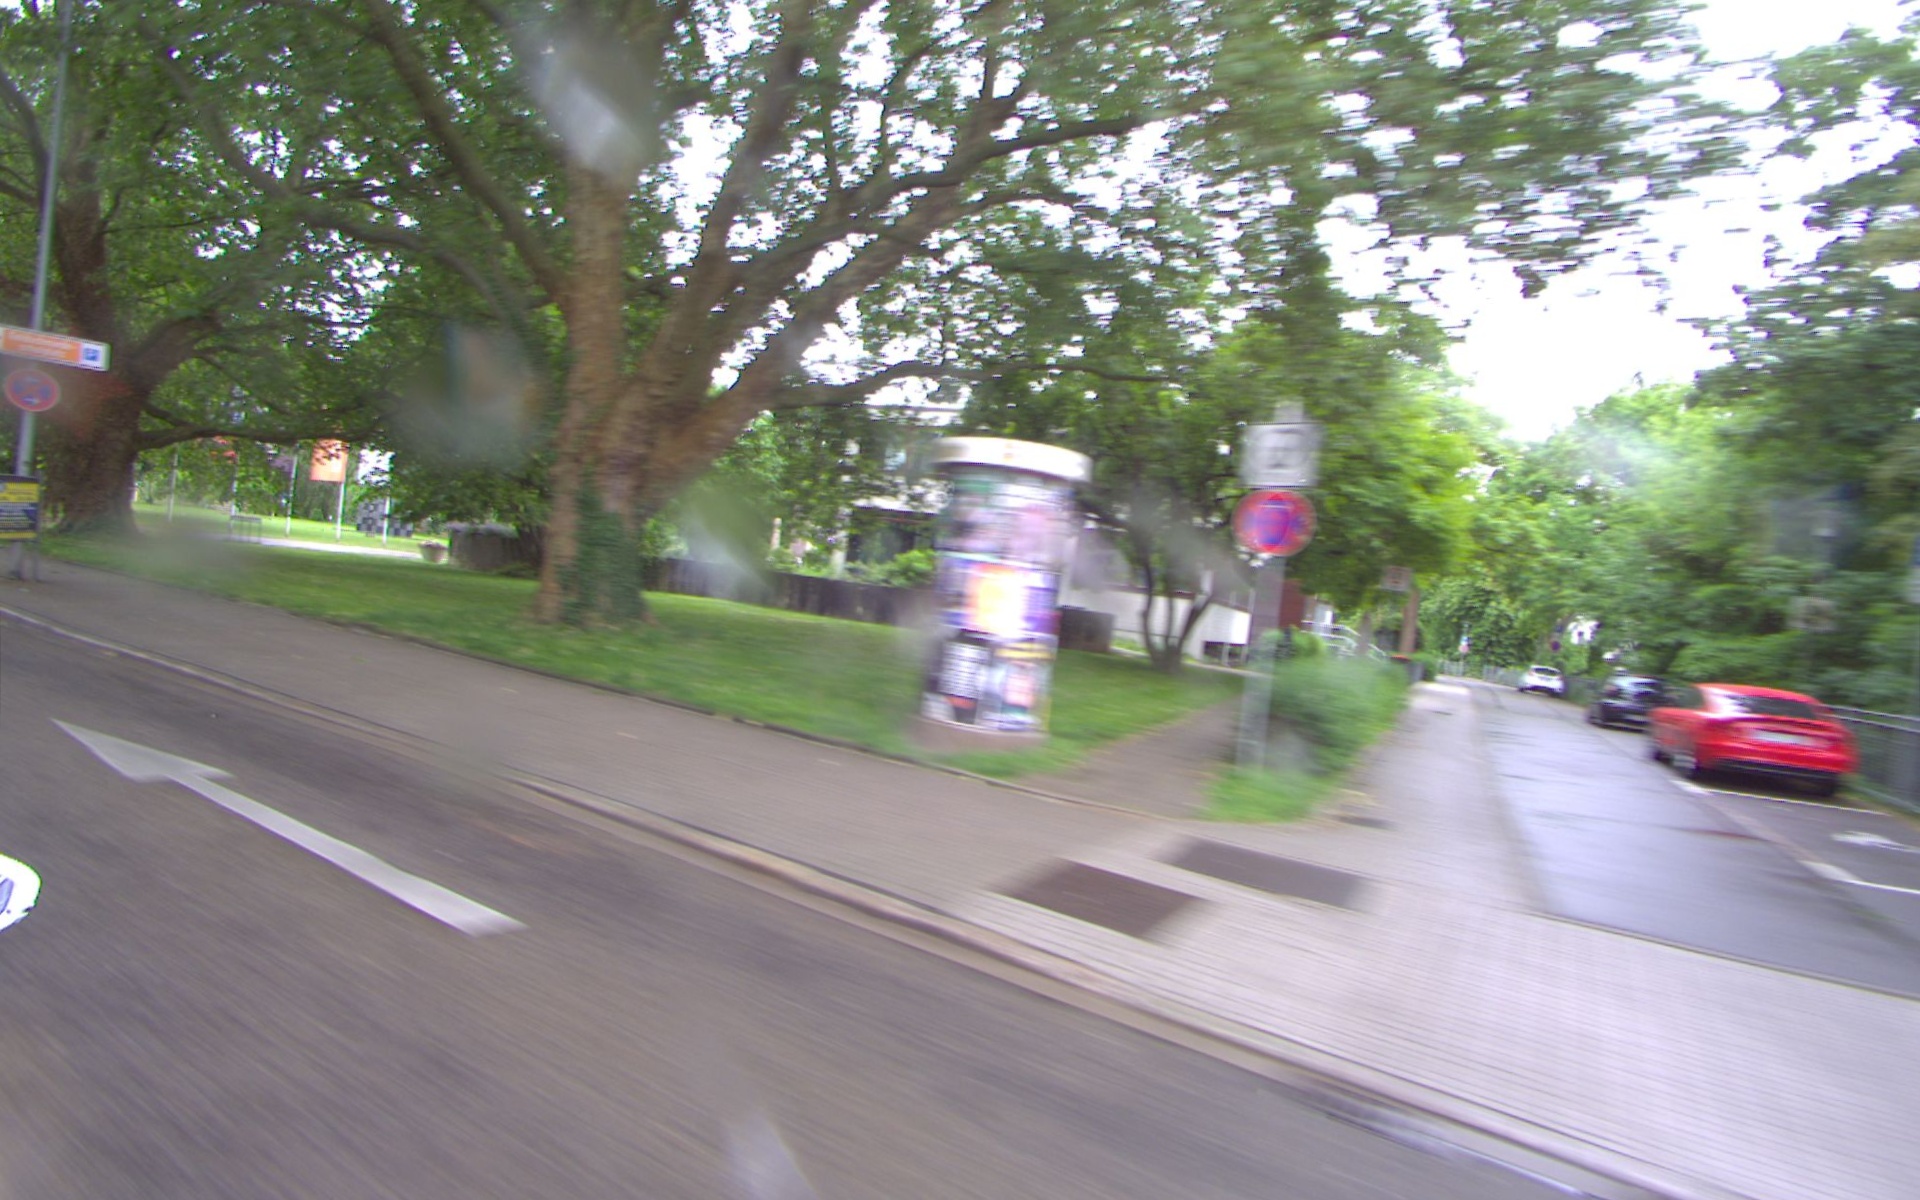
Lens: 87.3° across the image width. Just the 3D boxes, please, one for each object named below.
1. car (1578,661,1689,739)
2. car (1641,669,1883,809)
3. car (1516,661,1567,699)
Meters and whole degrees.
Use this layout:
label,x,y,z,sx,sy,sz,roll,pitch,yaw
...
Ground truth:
label,x,y,z,sx,sy,sz,roll,pitch,yaw
car,17.178,2.482,25.829,1.705,1.591,3.928,7,1,26
car,11.774,1.933,15.108,1.843,1.500,3.995,6,0,25
car,29.130,3.967,50.488,1.704,1.591,3.929,7,1,25
